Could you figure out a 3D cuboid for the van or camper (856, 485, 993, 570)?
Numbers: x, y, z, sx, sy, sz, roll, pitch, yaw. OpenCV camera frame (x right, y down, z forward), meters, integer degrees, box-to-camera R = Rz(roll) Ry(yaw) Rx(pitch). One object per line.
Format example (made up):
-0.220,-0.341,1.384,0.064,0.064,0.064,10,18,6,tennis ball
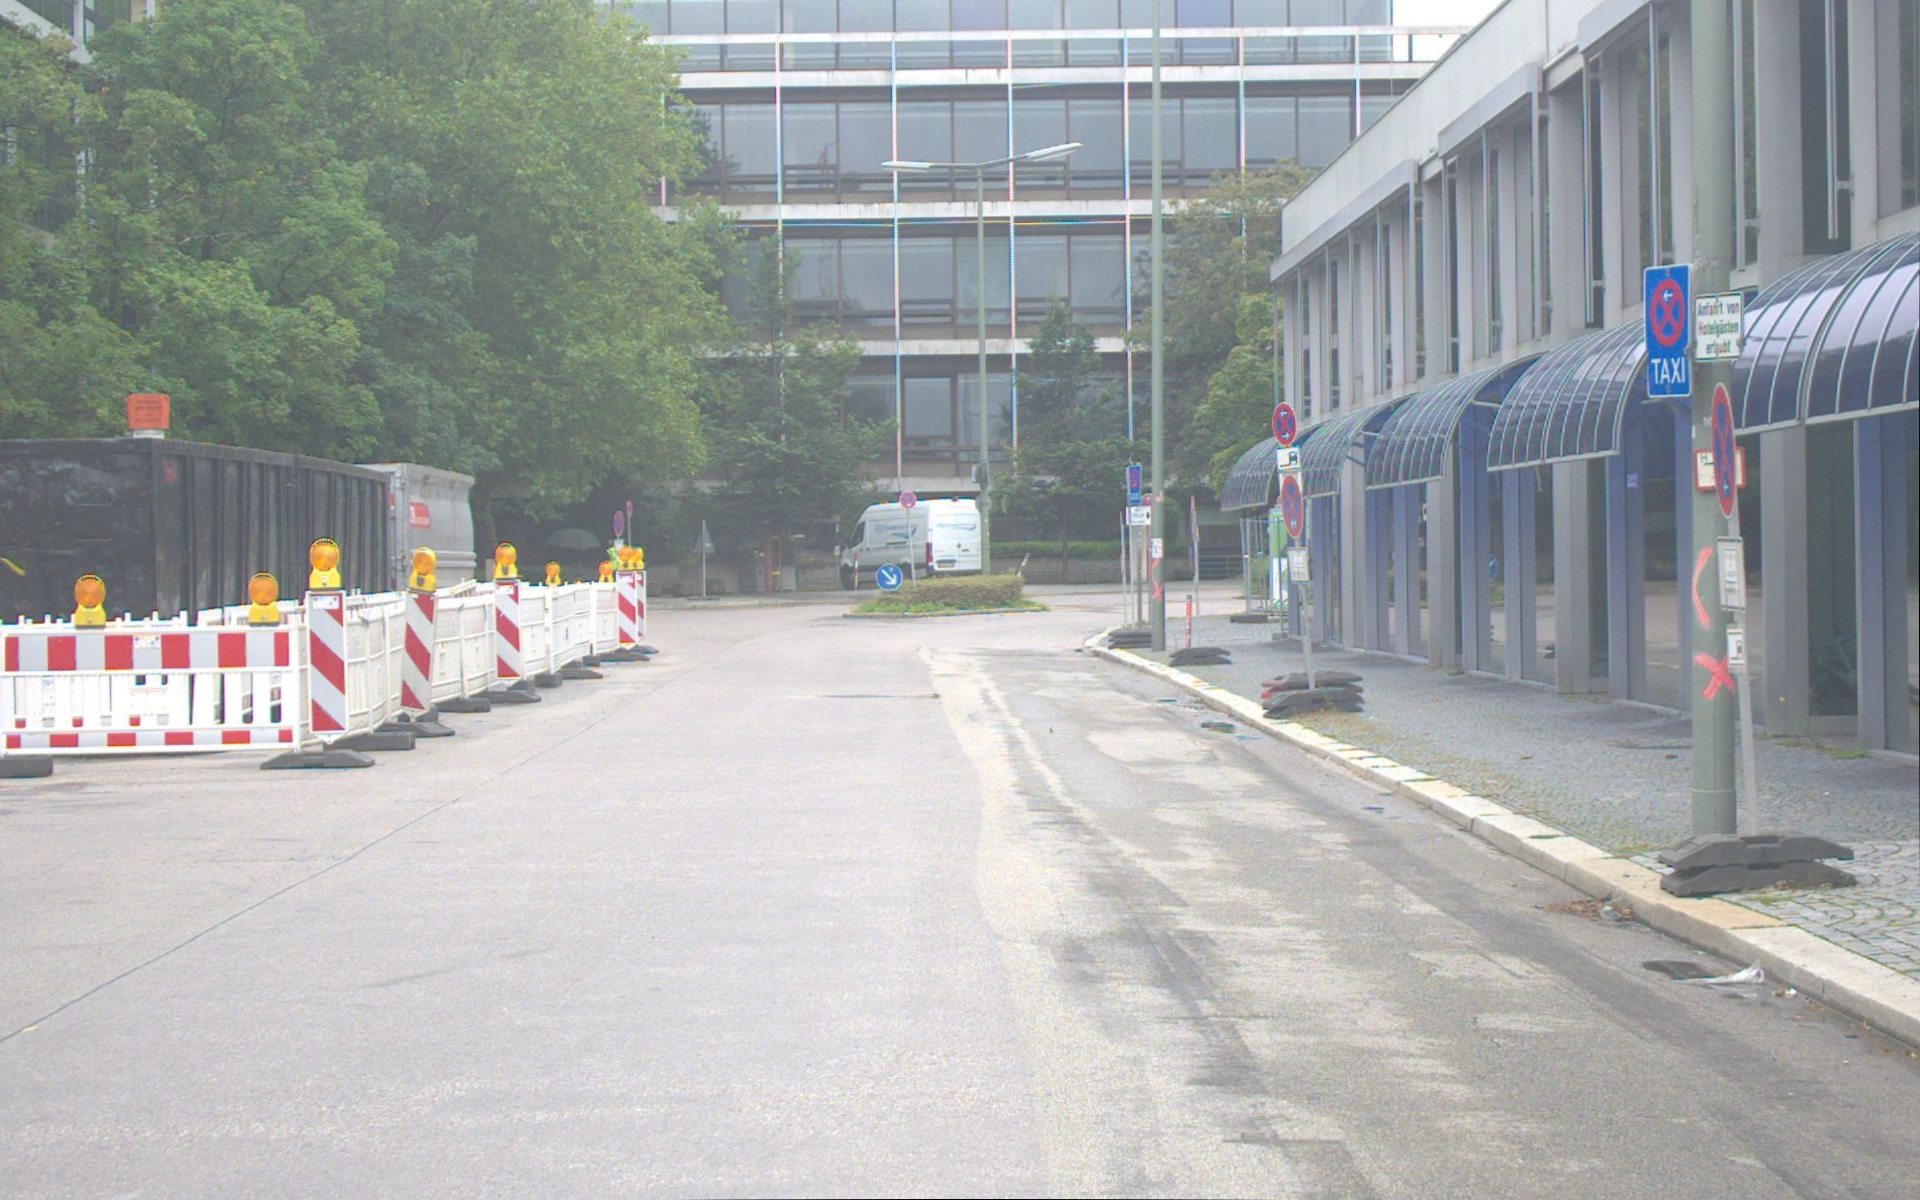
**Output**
-1.093,-2.156,102.608,2.085,2.483,5.068,-1,1,-26,van or camper

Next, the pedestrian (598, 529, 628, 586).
-10.217,-1.260,101.230,0.741,1.671,0.682,-1,1,-20,pedestrian
